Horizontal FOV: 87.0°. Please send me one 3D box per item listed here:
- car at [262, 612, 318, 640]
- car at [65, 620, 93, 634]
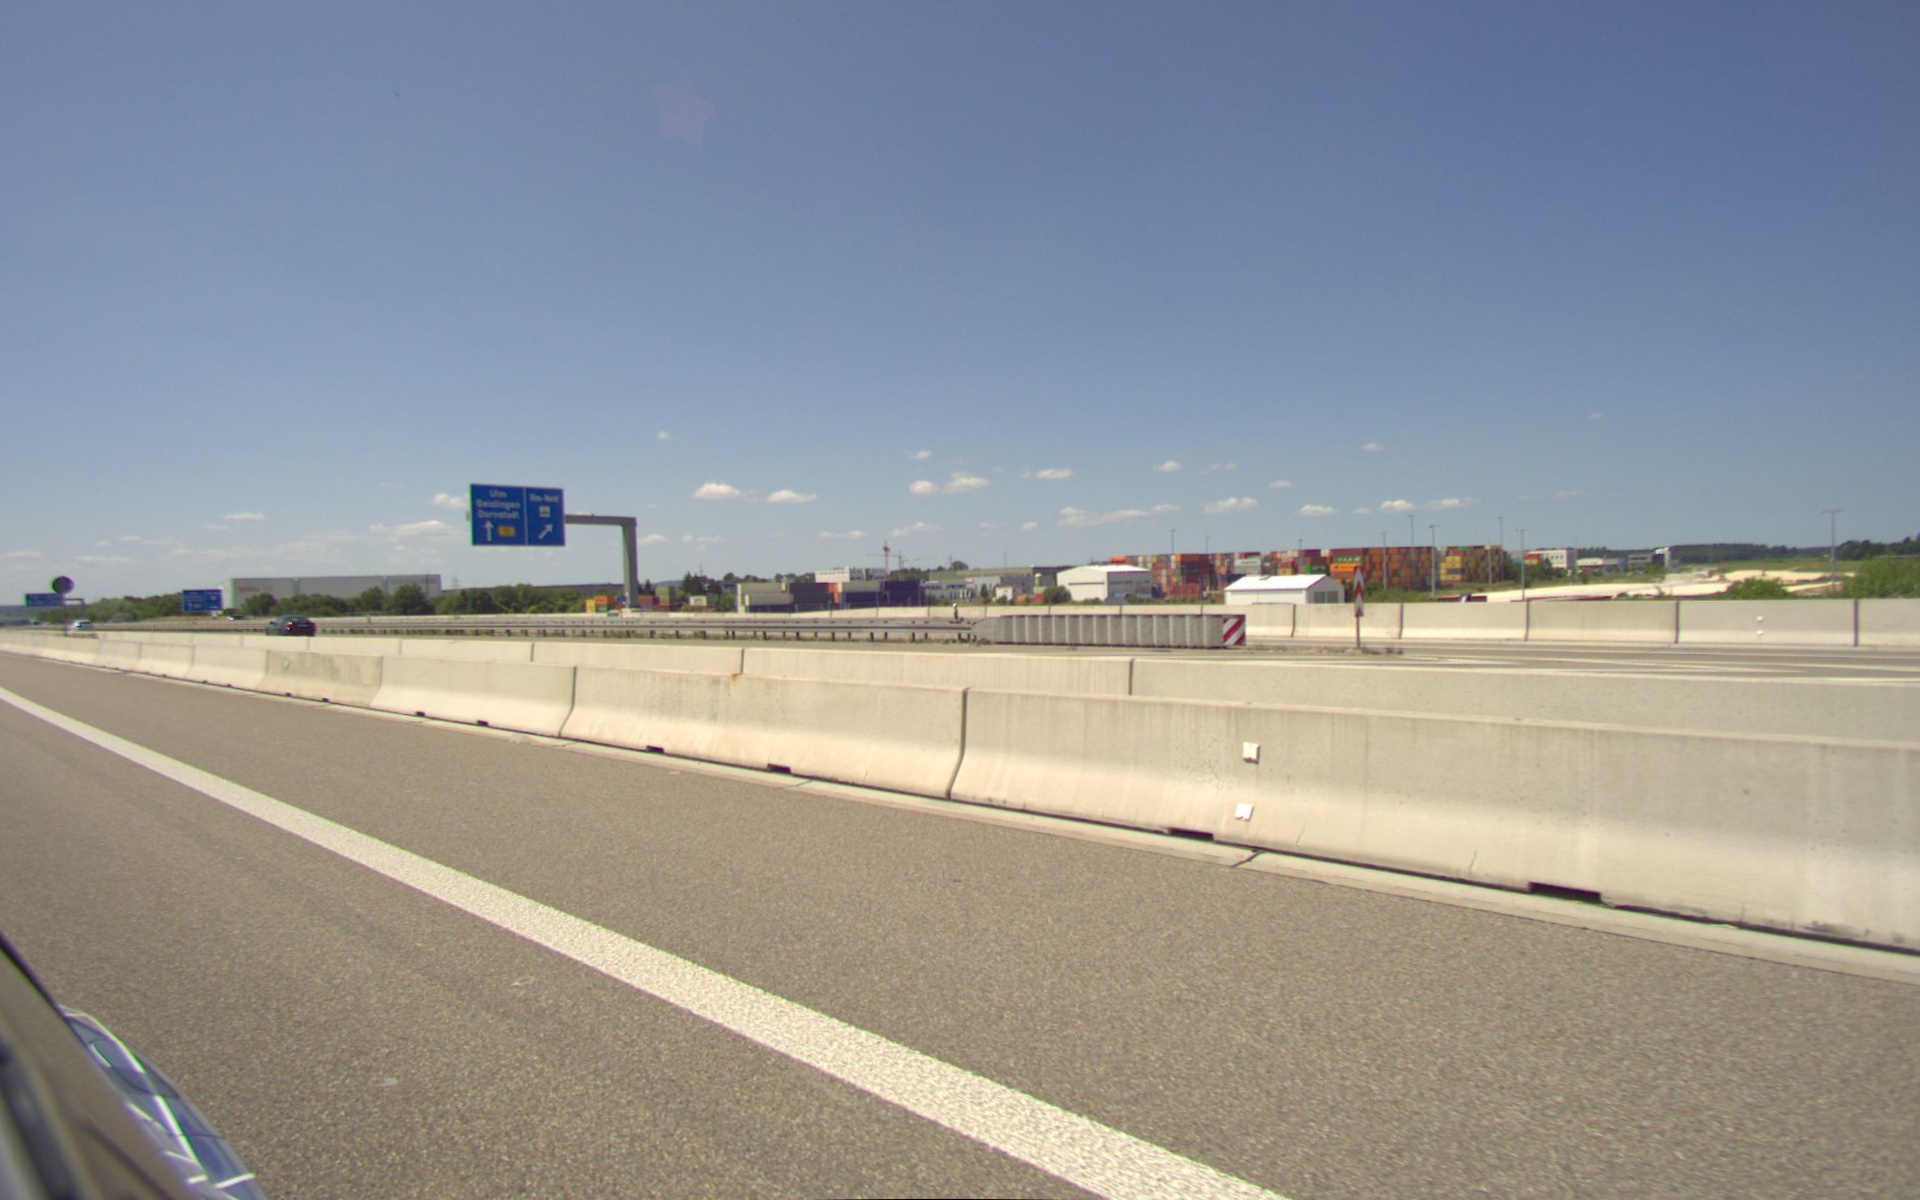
[{"bbox_3d":[-40.545,1.570,61.217,4.547,1.548,1.714,-2,0,42],"label":"car"},{"bbox_3d":[-97.636,2.961,112.183,4.440,1.446,1.790,-2,0,42],"label":"car"}]
